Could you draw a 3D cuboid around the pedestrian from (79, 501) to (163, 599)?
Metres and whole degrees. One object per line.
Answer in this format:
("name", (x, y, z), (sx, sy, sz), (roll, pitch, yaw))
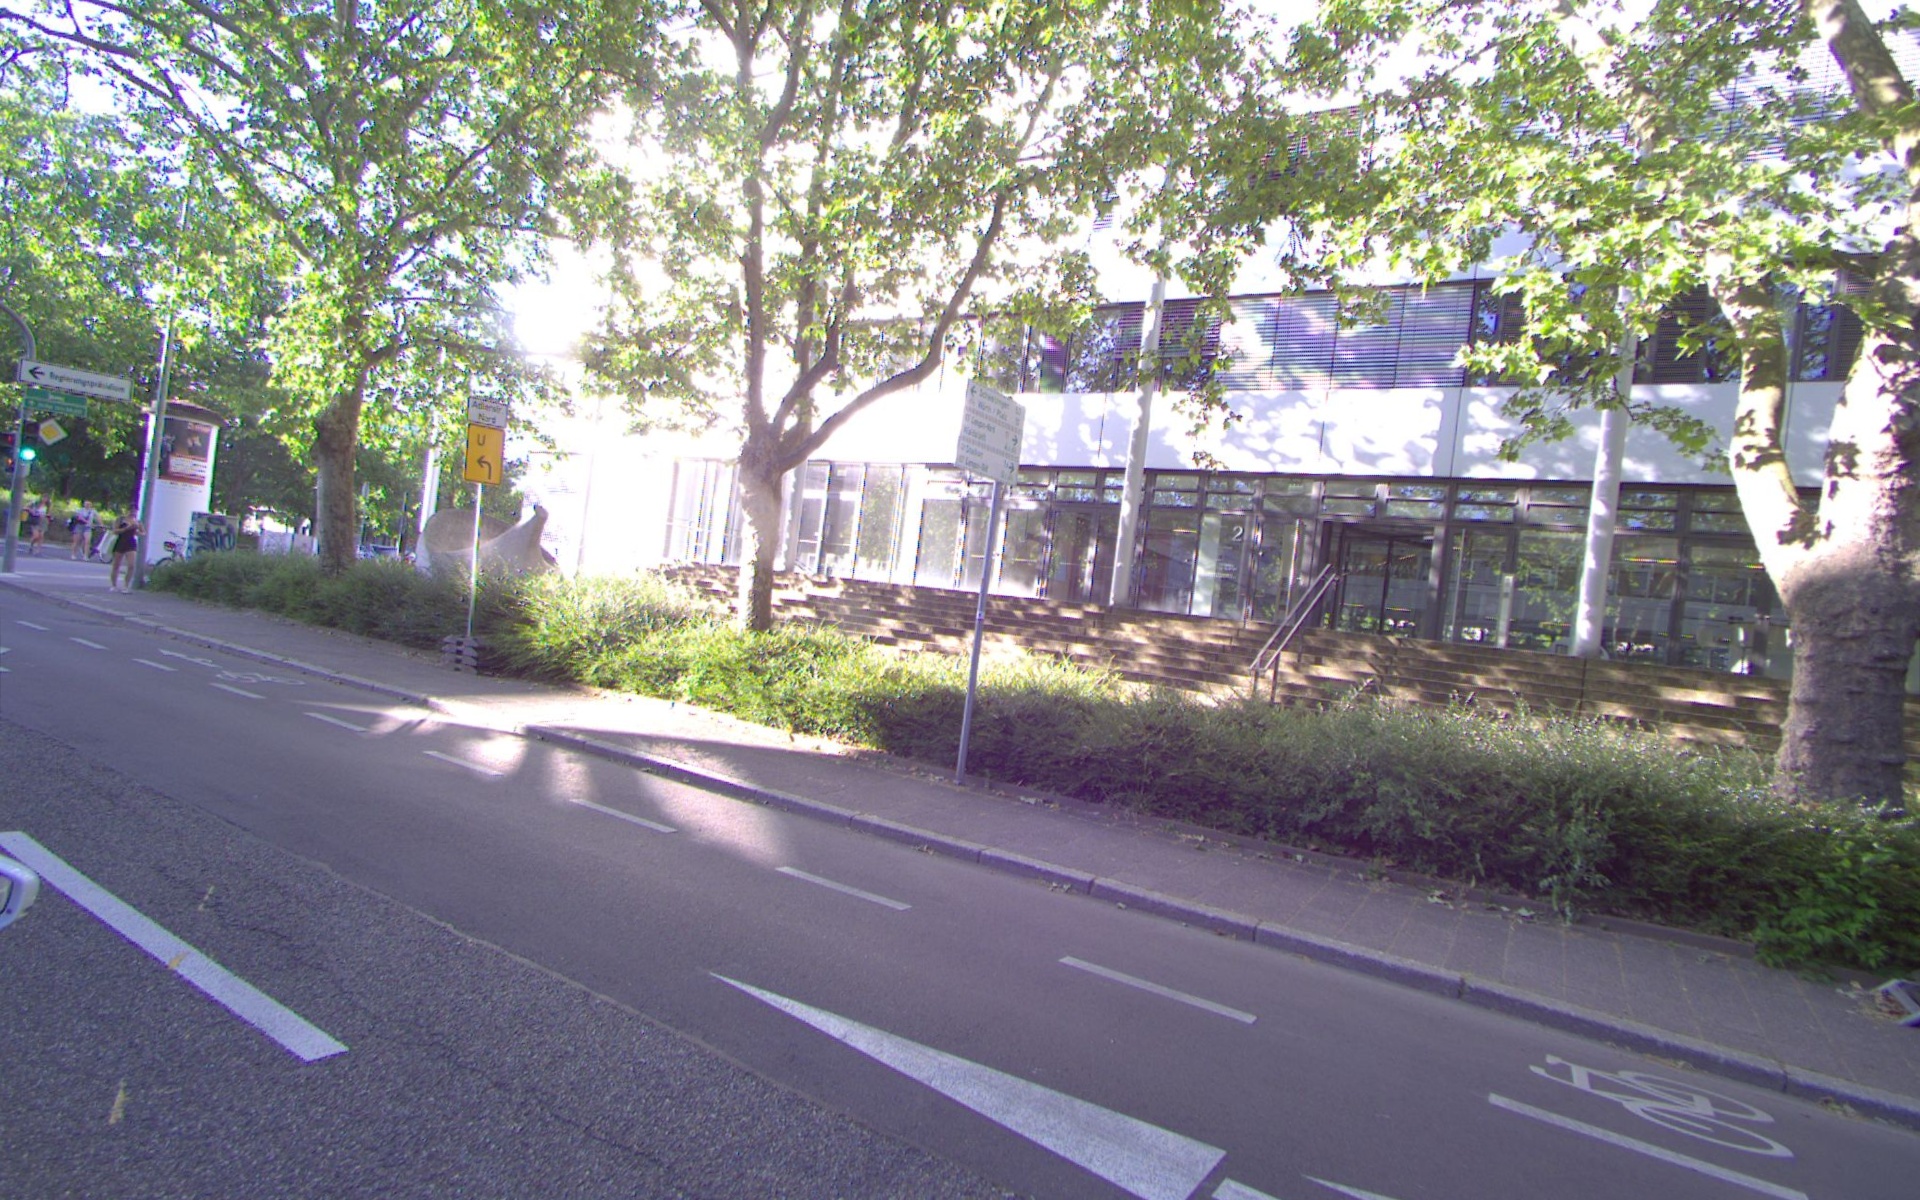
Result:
("pedestrian", (-15.233, -0.902, 18.263), (0.891, 1.651, 0.799), (6, 0, 28))

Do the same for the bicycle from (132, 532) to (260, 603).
("bicycle", (-15.938, -0.657, 21.055), (0.519, 1.203, 1.980), (7, -2, 30))

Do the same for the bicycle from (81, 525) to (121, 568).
("bicycle", (-25.057, -1.567, 29.327), (1.717, 1.113, 0.524), (6, -2, 41))

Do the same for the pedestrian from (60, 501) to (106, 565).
("pedestrian", (-25.312, -1.948, 29.032), (0.956, 1.717, 0.683), (6, -1, 39))

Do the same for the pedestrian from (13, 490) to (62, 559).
("pedestrian", (-25.945, -2.112, 28.300), (0.895, 1.830, 0.732), (5, 0, 37))

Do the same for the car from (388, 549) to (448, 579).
("car", (-35.564, -2.338, 65.969), (3.732, 1.500, 1.633), (6, -2, 31))
